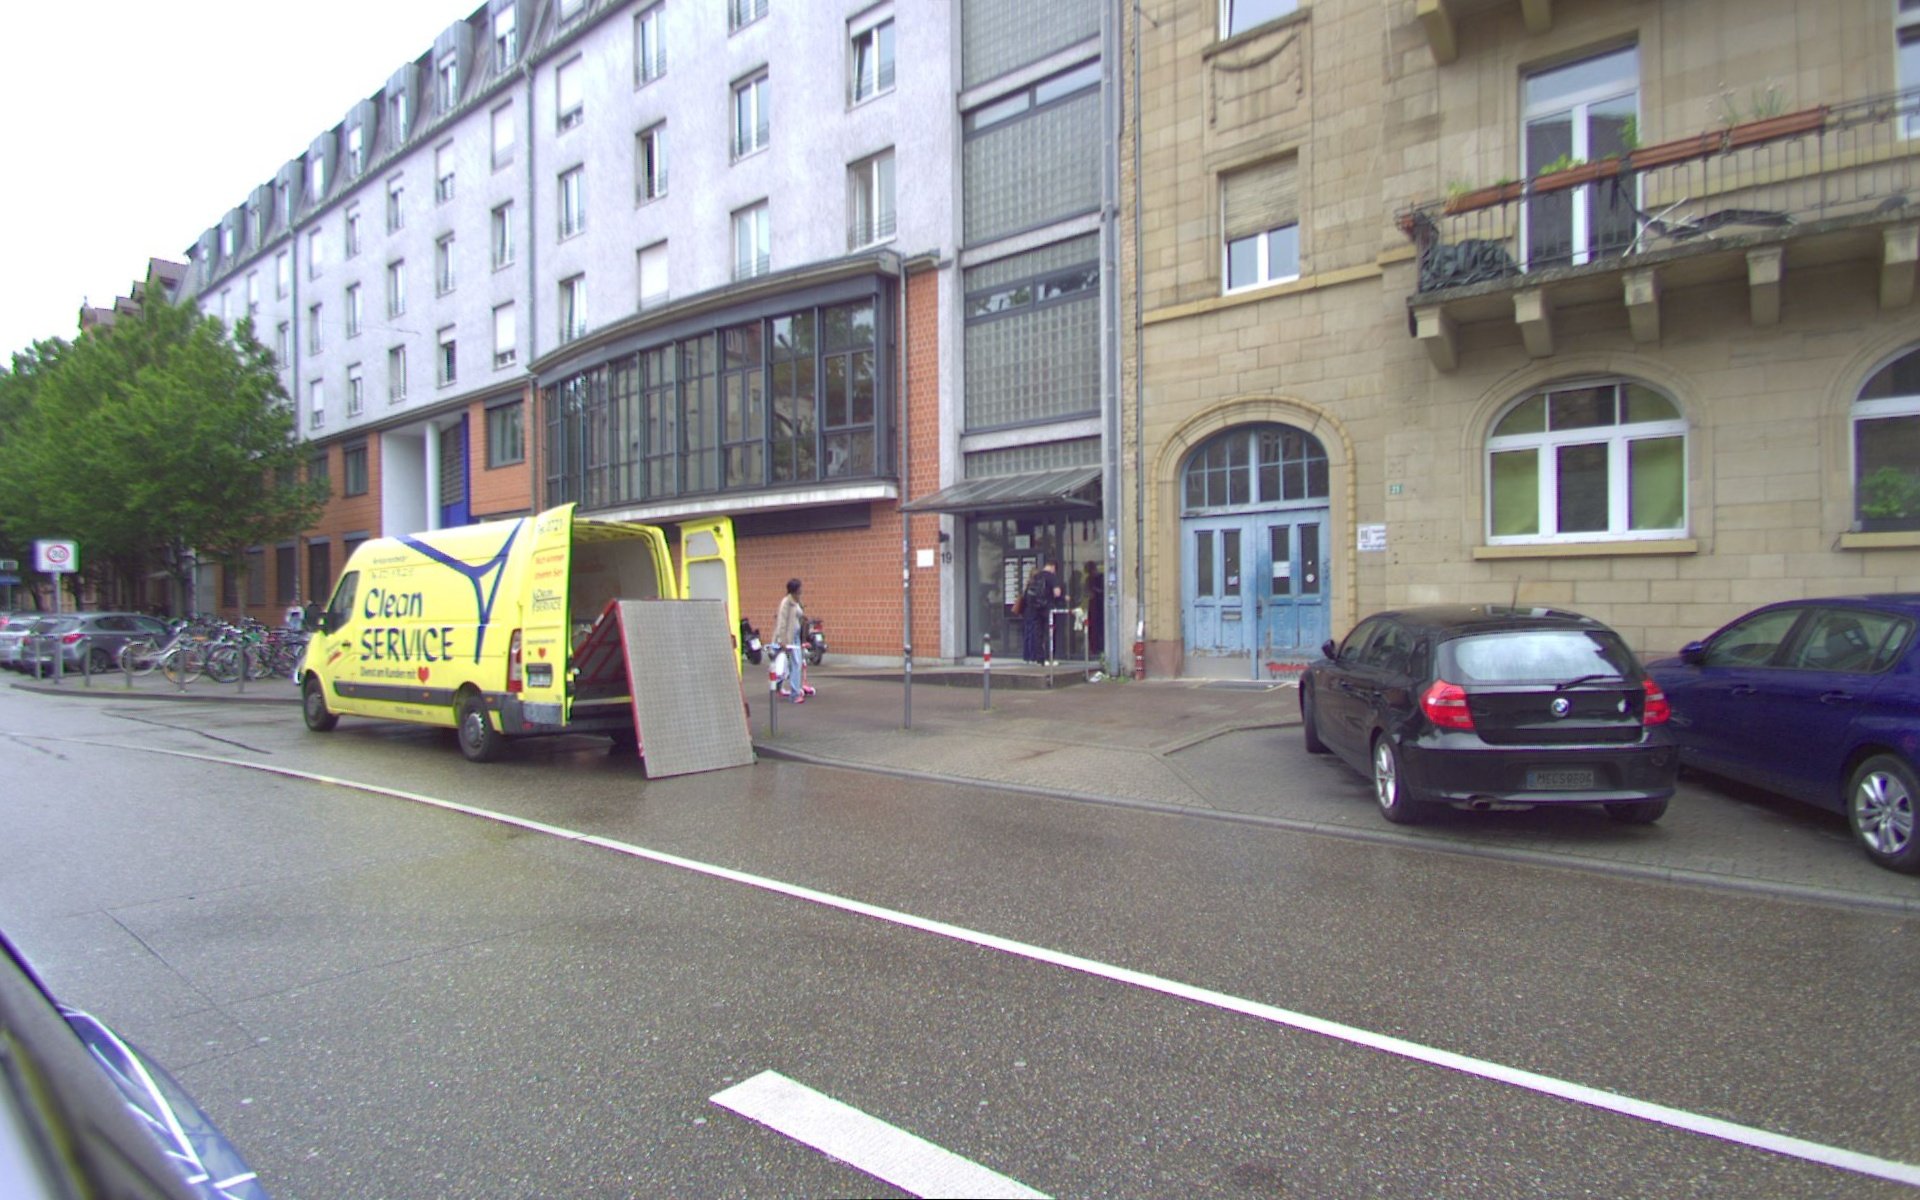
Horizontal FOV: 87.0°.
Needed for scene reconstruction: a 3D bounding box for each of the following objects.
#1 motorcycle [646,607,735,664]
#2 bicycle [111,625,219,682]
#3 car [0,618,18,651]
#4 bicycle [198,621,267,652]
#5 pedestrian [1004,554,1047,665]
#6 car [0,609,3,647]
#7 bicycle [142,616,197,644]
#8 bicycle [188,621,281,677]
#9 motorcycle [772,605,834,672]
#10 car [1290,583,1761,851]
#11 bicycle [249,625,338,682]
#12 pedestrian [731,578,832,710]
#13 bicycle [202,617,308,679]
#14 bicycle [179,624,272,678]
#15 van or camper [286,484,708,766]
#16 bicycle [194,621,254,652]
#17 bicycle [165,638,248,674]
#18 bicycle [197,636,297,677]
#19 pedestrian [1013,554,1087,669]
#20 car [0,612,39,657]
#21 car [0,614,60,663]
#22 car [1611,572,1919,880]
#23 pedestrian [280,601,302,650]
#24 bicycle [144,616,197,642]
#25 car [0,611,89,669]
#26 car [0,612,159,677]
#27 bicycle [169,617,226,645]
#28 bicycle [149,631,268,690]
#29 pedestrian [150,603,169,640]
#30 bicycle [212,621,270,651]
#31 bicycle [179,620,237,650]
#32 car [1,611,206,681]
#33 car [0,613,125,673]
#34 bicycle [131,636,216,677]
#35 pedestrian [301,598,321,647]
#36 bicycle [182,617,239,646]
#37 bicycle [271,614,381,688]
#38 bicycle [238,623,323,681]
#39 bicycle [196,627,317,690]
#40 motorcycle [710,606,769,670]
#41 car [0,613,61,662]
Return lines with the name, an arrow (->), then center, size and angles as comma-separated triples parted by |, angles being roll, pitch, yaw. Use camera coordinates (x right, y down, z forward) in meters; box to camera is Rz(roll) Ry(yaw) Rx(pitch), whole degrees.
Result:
motorcycle -> -5.807, 0.747, 21.717 | 2.202, 1.165, 0.643 | -1, 0, 39
bicycle -> -17.430, 1.142, 22.226 | 0.472, 1.114, 1.791 | -1, 1, 35
car -> -44.414, 1.563, 45.184 | 1.662, 1.502, 3.799 | 0, -1, -10
bicycle -> -24.274, 1.217, 33.801 | 0.444, 0.992, 1.831 | -1, -1, 32
pedestrian -> 1.062, 0.153, 16.404 | 0.467, 1.761, 0.608 | 1, -1, -24
car -> -49.637, 1.394, 49.459 | 1.666, 1.910, 4.330 | 0, -1, -1
bicycle -> -29.425, 1.110, 37.692 | 0.464, 0.992, 1.573 | -1, -1, 32
bicycle -> -15.886, 1.051, 22.197 | 0.517, 1.114, 1.596 | -1, 1, 27
motorcycle -> -2.969, 0.693, 18.982 | 0.516, 1.190, 1.763 | -1, 0, -30
car -> 3.904, 0.695, 7.875 | 1.777, 1.523, 4.035 | 0, -1, 7
bicycle -> -13.539, 1.068, 20.587 | 0.418, 1.072, 1.442 | -1, 1, 43
pedestrian -> -2.475, 0.586, 14.027 | 1.171, 1.741, 0.777 | -1, 0, 39
bicycle -> -14.927, 0.996, 21.472 | 0.517, 1.203, 1.798 | -1, 1, 27
bicycle -> -16.410, 1.122, 22.640 | 0.519, 1.114, 1.592 | -1, 1, 35
van or camper -> -5.767, 0.292, 12.162 | 5.935, 2.631, 2.174 | -1, -2, 39
bicycle -> -24.714, 1.217, 34.011 | 0.444, 0.992, 1.573 | -1, -1, 32
bicycle -> -17.217, 1.270, 23.139 | 0.497, 0.727, 1.454 | 0, 1, 42
bicycle -> -15.366, 1.202, 21.856 | 0.454, 0.767, 1.757 | -1, 1, 27
pedestrian -> 1.420, 0.181, 15.876 | 0.785, 1.741, 0.998 | -1, -1, 31
car -> -33.947, 1.225, 35.216 | 1.138, 1.567, 2.673 | -1, 0, 11
car -> -29.958, 1.214, 31.783 | 1.177, 1.461, 2.502 | -1, 0, 0
car -> 6.107, 0.661, 6.553 | 1.779, 1.585, 4.029 | 0, -1, 11
pedestrian -> -22.368, 0.839, 33.834 | 0.595, 1.622, 0.374 | 0, -1, -29
bicycle -> -30.692, 1.115, 39.341 | 0.464, 0.992, 1.573 | -1, -1, 32
car -> -27.547, 1.155, 29.632 | 1.432, 1.564, 3.079 | -1, 0, 0
car -> -23.023, 1.116, 26.485 | 1.436, 1.514, 3.070 | -1, 0, 8
bicycle -> -27.473, 1.108, 36.483 | 0.464, 0.992, 1.573 | -1, -1, 32
bicycle -> -14.650, 1.157, 19.768 | 0.519, 1.000, 1.778 | -1, 1, 37
pedestrian -> -35.222, 0.932, 44.522 | 0.533, 1.609, 0.564 | -1, -1, 41
bicycle -> -24.733, 1.227, 34.838 | 0.444, 0.992, 1.573 | -1, -1, 32
bicycle -> -26.175, 1.217, 35.249 | 0.444, 0.992, 1.573 | -1, -1, 32
car -> -20.720, 1.062, 24.681 | 1.720, 1.514, 3.614 | 0, 0, 8
car -> -25.126, 1.155, 28.033 | 1.432, 1.514, 3.079 | -1, 0, 0
bicycle -> -18.000, 1.277, 23.179 | 0.497, 0.811, 1.454 | 0, 1, 42
pedestrian -> -21.609, 0.741, 33.698 | 0.506, 1.622, 0.427 | 0, -1, -22
bicycle -> -26.513, 1.107, 35.816 | 0.444, 0.992, 1.573 | -1, -1, 32
bicycle -> -12.076, 0.938, 19.362 | 0.760, 1.225, 1.917 | 0, 3, 5
bicycle -> -14.138, 1.063, 21.079 | 1.439, 1.111, 0.462 | -1, 1, -36
bicycle -> -13.647, 1.105, 19.666 | 1.832, 1.081, 0.610 | -2, 1, -45
motorcycle -> -4.385, 0.724, 20.027 | 0.516, 1.190, 2.010 | -1, 0, -30
car -> -31.833, 1.242, 33.448 | 1.358, 1.567, 2.971 | -1, 0, 11
